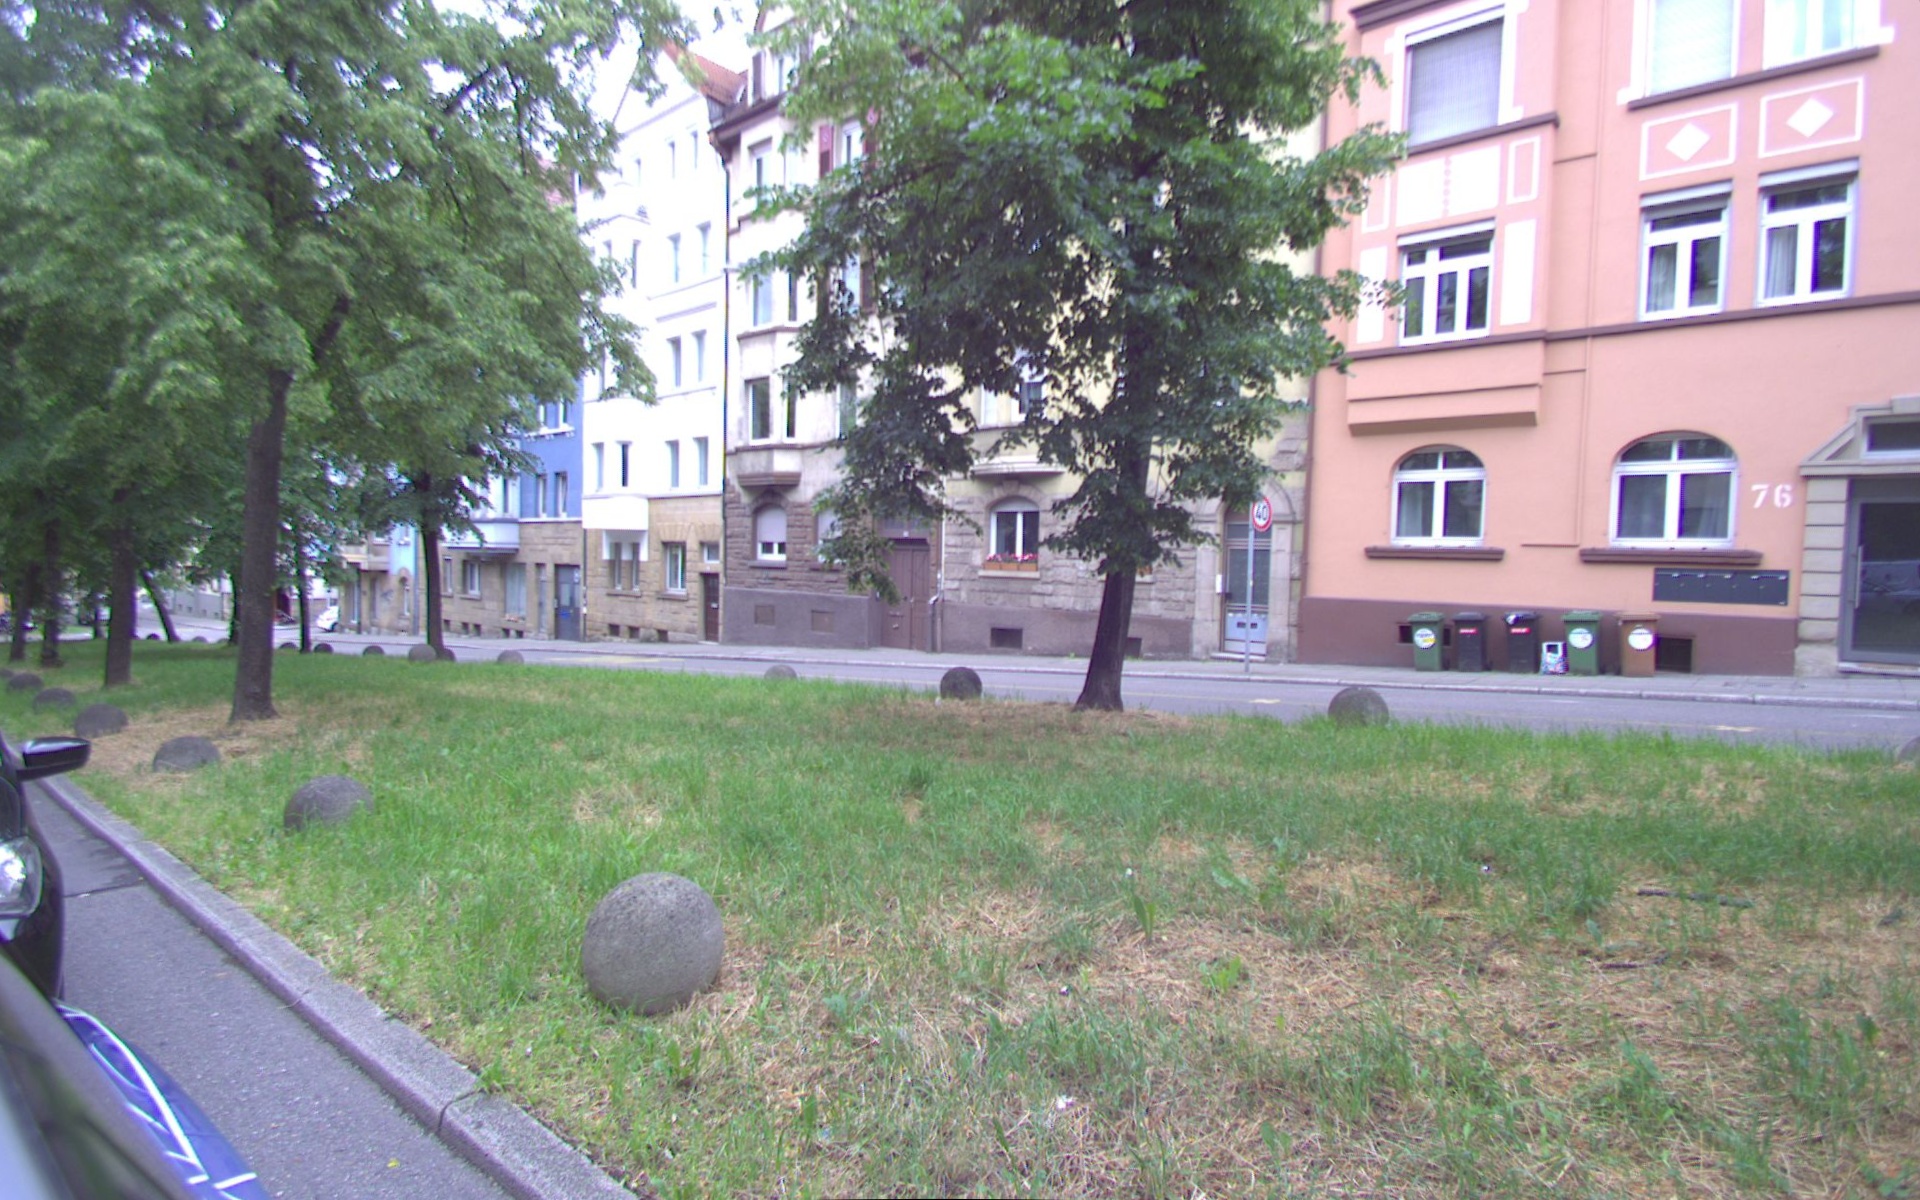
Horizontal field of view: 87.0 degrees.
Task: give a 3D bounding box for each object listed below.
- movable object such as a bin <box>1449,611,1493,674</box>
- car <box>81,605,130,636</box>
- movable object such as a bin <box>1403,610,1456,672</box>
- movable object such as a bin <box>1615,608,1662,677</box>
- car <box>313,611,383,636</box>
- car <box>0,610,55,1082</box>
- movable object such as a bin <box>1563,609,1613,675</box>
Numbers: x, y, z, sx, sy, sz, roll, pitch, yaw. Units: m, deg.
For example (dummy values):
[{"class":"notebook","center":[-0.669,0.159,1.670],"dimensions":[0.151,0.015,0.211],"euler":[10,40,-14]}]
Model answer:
[{"class":"movable object such as a bin","center":[7.962,0.647,15.773],"dimensions":[0.531,0.953,0.575],"euler":[-1,0,35]},{"class":"car","center":[-57.038,1.388,67.531],"dimensions":[5.308,1.959,1.971],"euler":[-2,0,44]},{"class":"movable object such as a bin","center":[7.497,0.647,16.163],"dimensions":[0.617,0.955,0.610],"euler":[-1,0,40]},{"class":"movable object such as a bin","center":[9.630,0.589,14.359],"dimensions":[0.514,0.928,0.750],"euler":[-1,0,36]},{"class":"car","center":[-35.375,1.321,58.492],"dimensions":[3.244,1.341,1.674],"euler":[-1,0,-40]},{"class":"car","center":[-4.693,0.770,3.744],"dimensions":[3.295,1.476,1.590],"euler":[-1,-2,41]},{"class":"movable object such as a bin","center":[9.164,0.595,14.756],"dimensions":[0.558,0.928,0.648],"euler":[-1,0,36]}]
